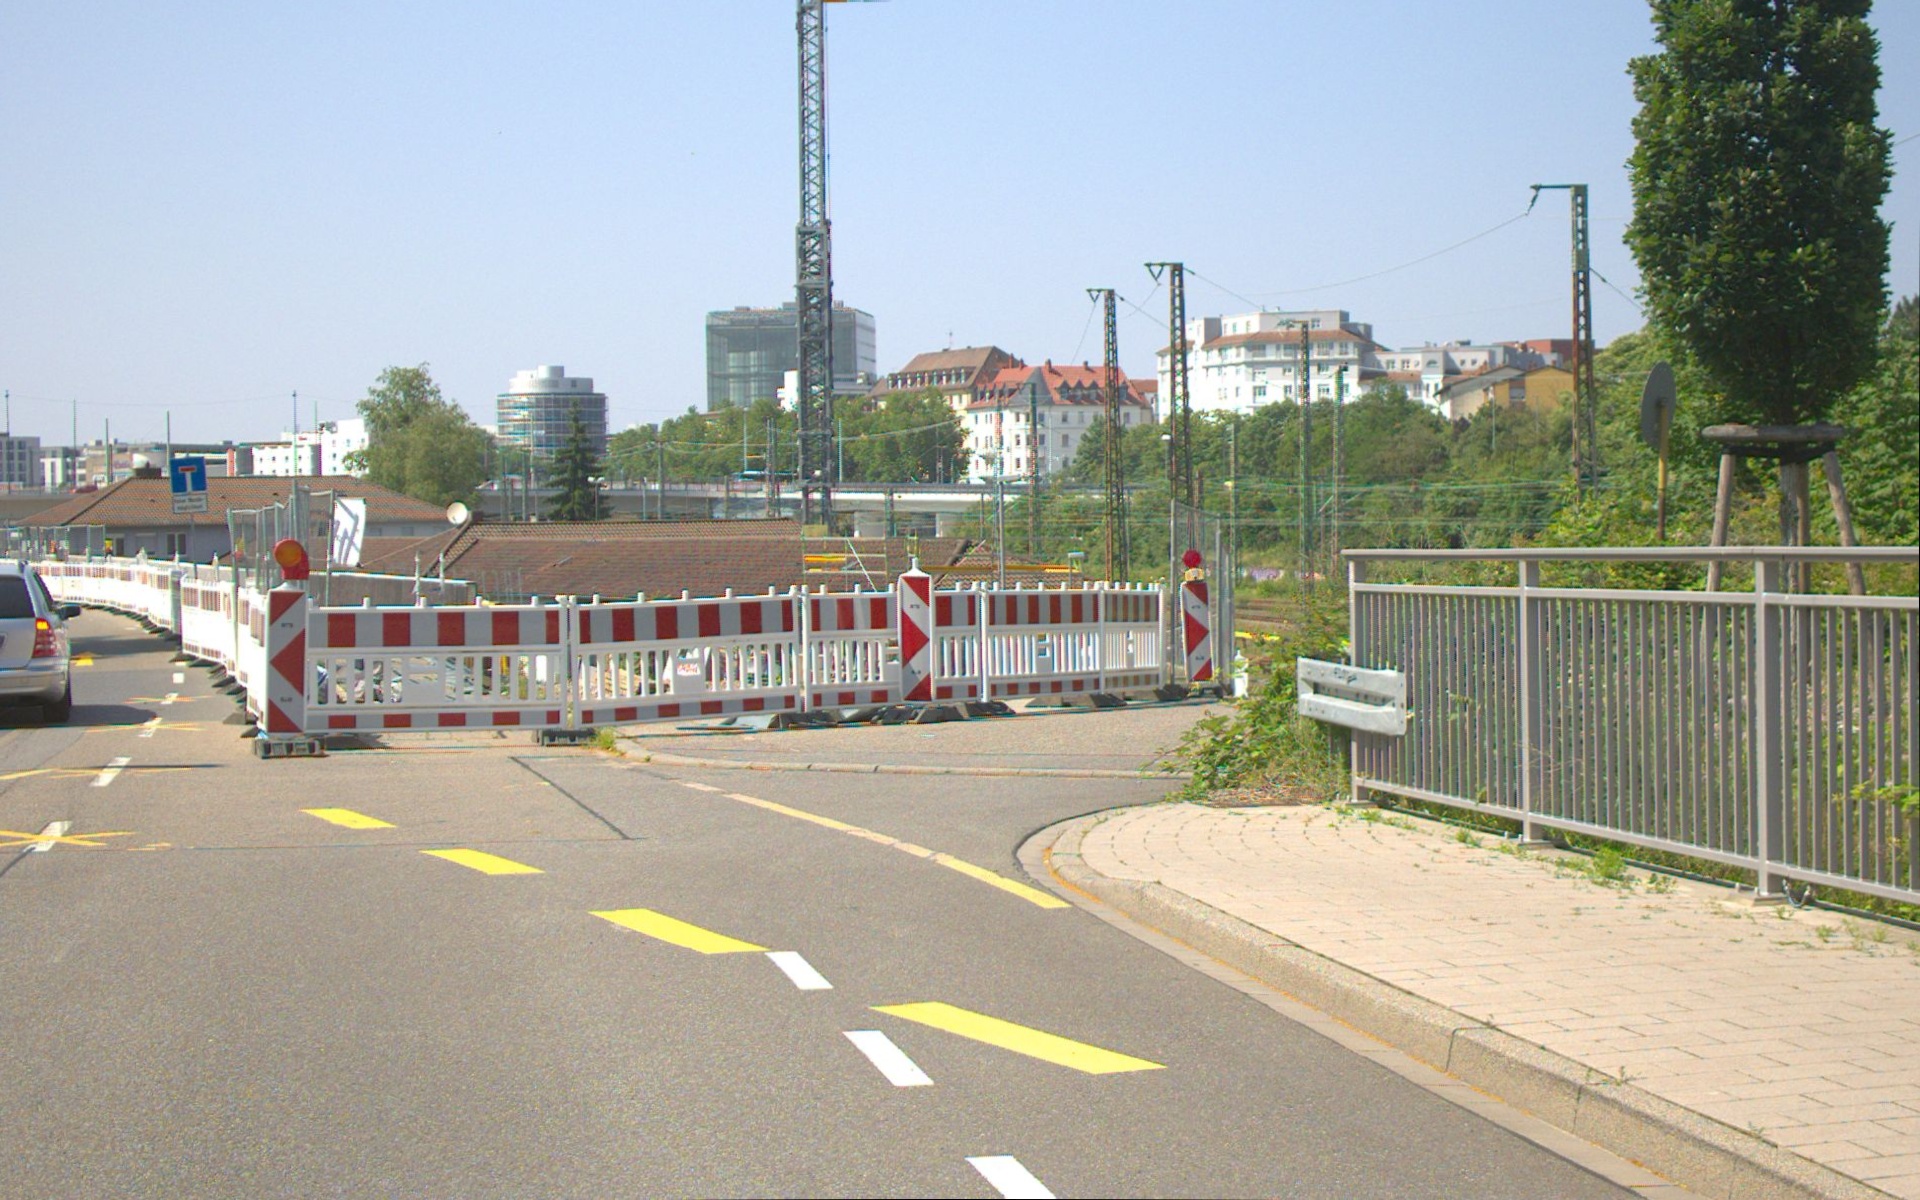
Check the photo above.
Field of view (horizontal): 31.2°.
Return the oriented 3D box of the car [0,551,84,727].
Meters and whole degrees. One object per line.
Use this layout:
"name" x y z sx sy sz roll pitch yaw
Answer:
"car" -8.836 0.315 30.838 1.708 1.399 4.388 -2 2 -12
